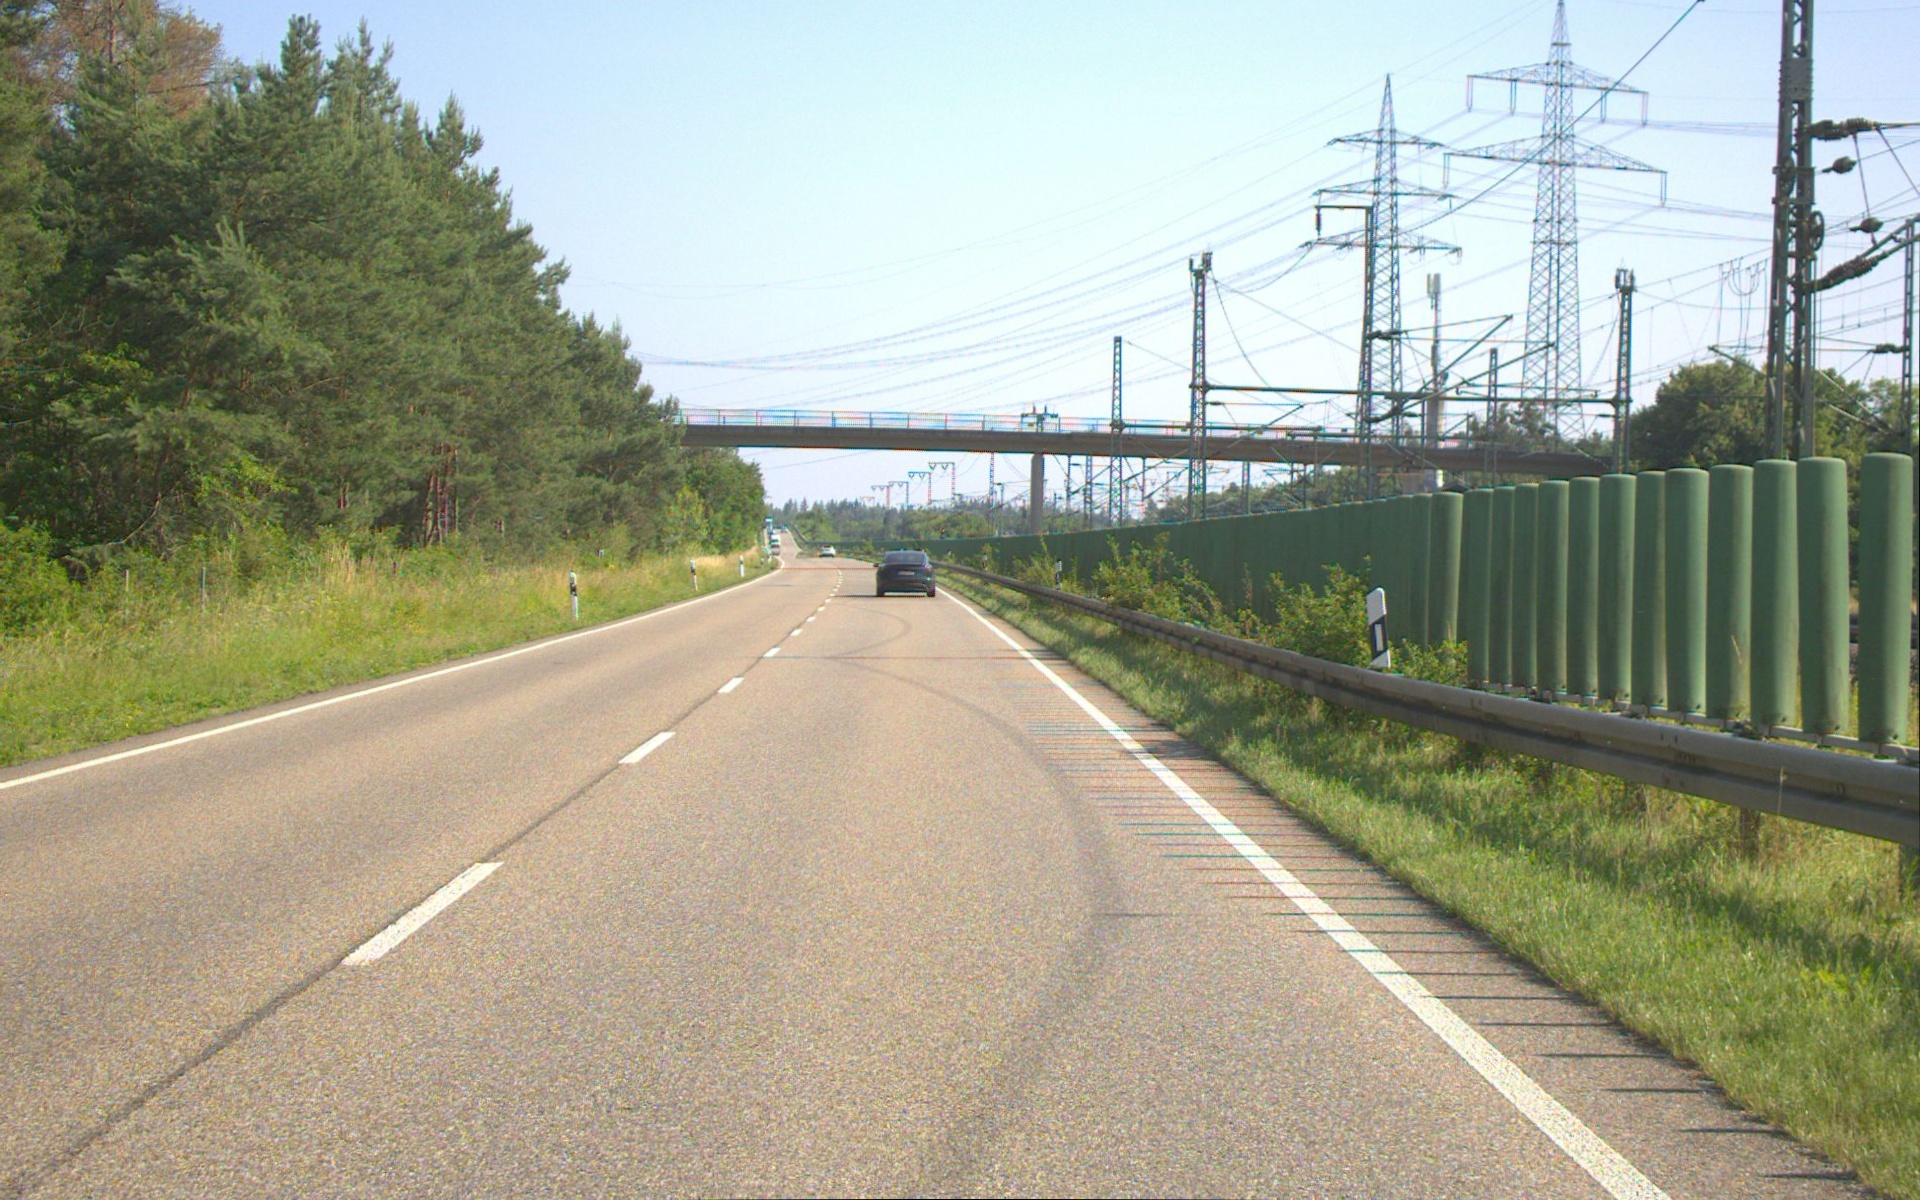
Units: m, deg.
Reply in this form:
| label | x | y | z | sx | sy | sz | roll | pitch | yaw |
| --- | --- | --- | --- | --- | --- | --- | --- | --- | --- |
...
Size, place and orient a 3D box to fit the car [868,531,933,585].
| label | x | y | z | sx | sy | sz | roll | pitch | yaw |
| --- | --- | --- | --- | --- | --- | --- | --- | --- | --- |
| car | -1.881 | -1.331 | 107.519 | 1.858 | 1.636 | 4.001 | -1 | 1 | -3 |
